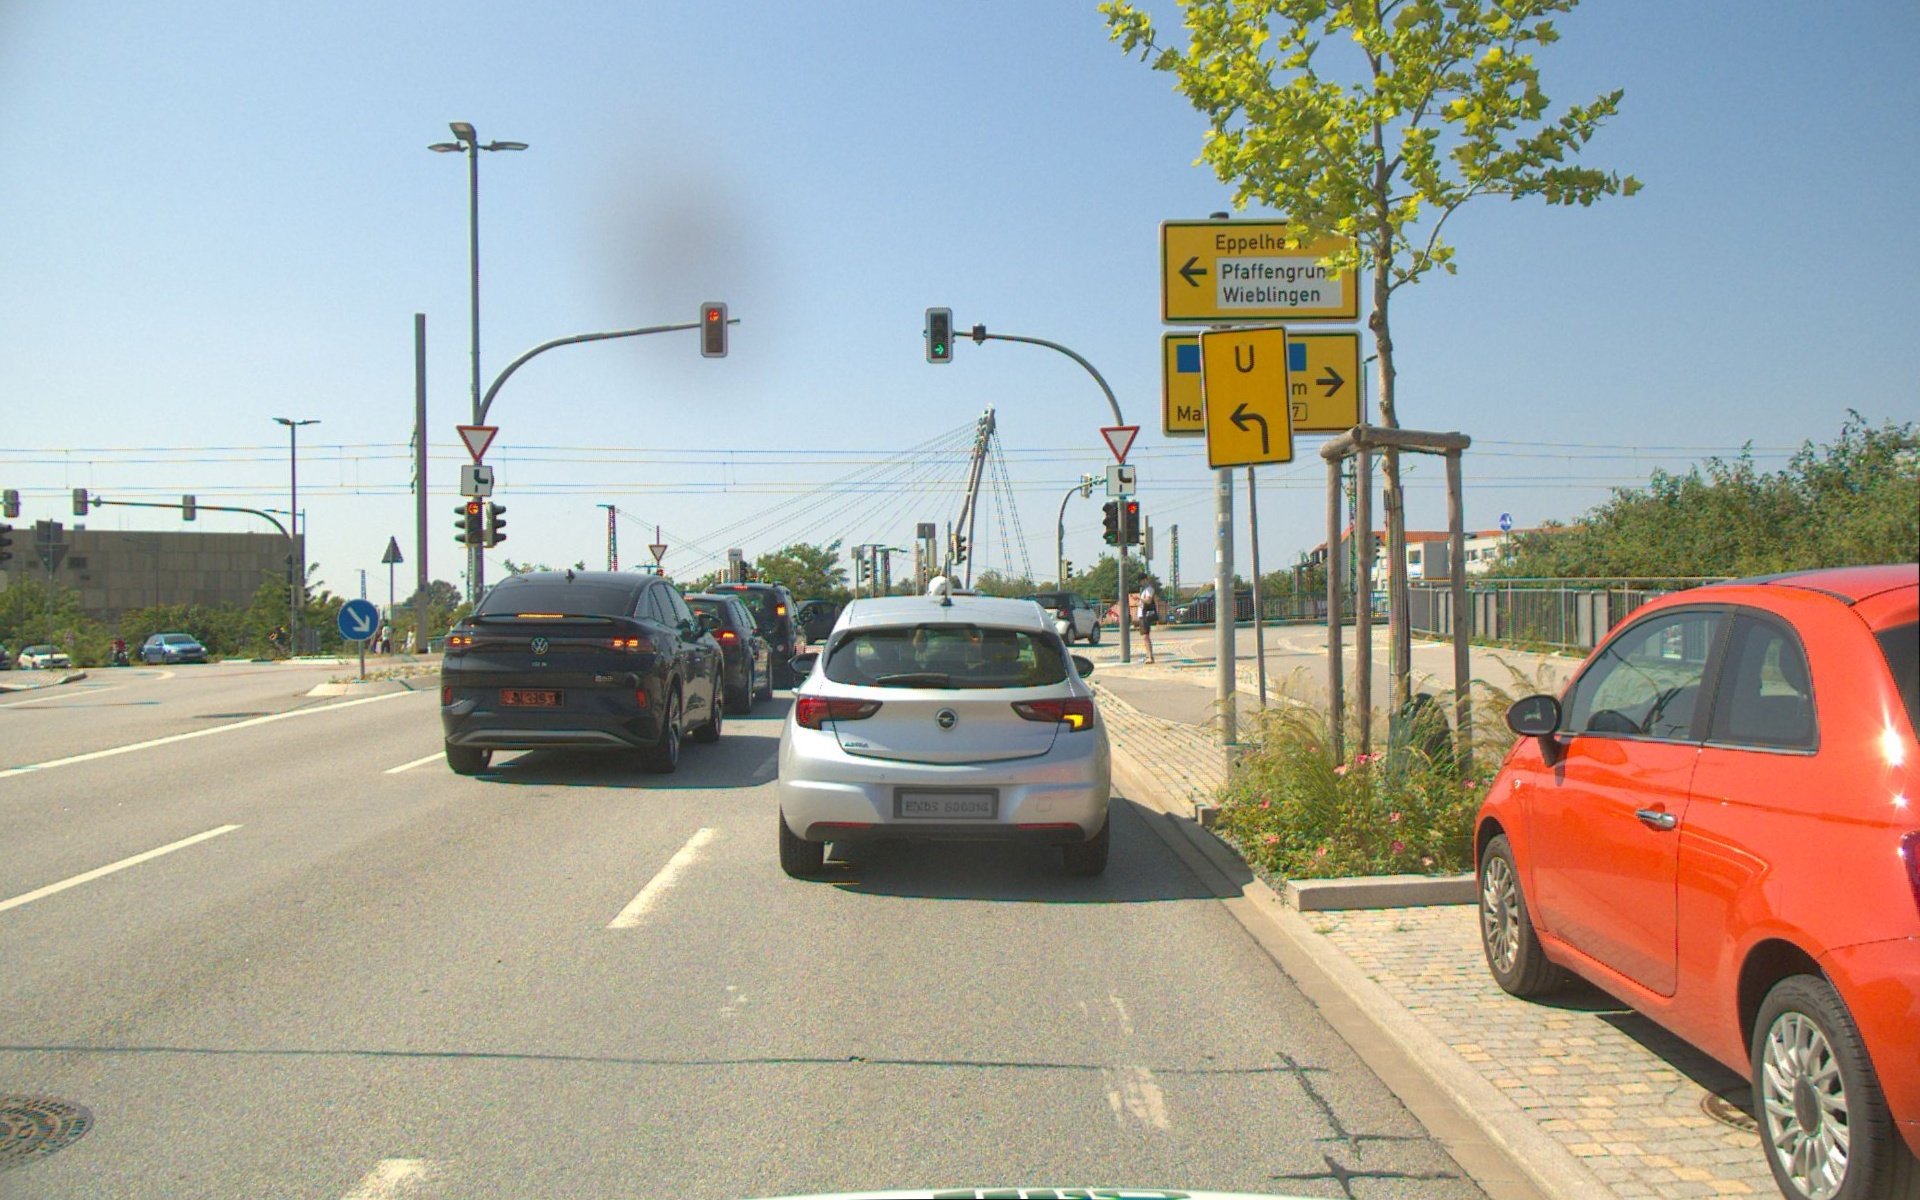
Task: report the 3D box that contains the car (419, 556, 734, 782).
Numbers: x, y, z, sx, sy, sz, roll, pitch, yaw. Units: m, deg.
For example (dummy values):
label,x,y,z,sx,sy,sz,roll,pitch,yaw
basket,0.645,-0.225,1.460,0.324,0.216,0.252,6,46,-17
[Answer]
label,x,y,z,sx,sy,sz,roll,pitch,yaw
car,-3.172,0.520,14.586,1.765,1.670,4.365,1,0,0

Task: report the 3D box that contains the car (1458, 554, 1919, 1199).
label,x,y,z,sx,sy,sz,roll,pitch,yaw
car,2.778,0.634,4.925,1.577,1.522,3.353,-2,0,1

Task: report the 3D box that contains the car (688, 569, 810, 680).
label,x,y,z,sx,sy,sz,roll,pitch,yaw
car,-3.348,0.370,26.839,1.616,1.643,3.818,1,0,-3

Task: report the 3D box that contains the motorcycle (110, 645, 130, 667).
label,x,y,z,sx,sy,sz,roll,pitch,yaw
motorcycle,-39.741,2.629,78.233,0.515,0.971,1.909,1,0,-37

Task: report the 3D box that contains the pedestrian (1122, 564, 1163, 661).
label,x,y,z,sx,sy,sz,roll,pitch,yaw
pedestrian,3.593,0.240,32.608,0.634,1.868,0.797,-2,0,-2

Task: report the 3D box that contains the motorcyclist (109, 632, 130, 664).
label,x,y,z,sx,sy,sz,roll,pitch,yaw
motorcyclist,-39.779,2.261,78.294,0.745,1.520,0.668,1,-1,-37

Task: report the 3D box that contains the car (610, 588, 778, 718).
label,x,y,z,sx,sy,sz,roll,pitch,yaw
car,-3.245,0.606,20.787,1.543,1.459,3.785,1,0,-1

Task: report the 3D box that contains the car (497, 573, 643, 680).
label,x,y,z,sx,sy,sz,roll,pitch,yaw
car,-6.153,0.397,26.443,1.565,1.574,3.760,1,0,-3

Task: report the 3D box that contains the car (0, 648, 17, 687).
label,x,y,z,sx,sy,sz,roll,pitch,yaw
car,-40.407,2.807,68.740,1.662,1.502,3.359,-1,1,-38

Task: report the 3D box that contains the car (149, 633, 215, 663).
label,x,y,z,sx,sy,sz,roll,pitch,yaw
car,-35.307,2.158,74.977,1.805,1.354,3.942,1,-2,-39

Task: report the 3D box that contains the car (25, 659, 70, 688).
label,x,y,z,sx,sy,sz,roll,pitch,yaw
car,-48.460,3.884,87.833,1.594,1.362,2.882,1,0,-40

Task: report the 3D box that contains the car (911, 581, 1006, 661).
label,x,y,z,sx,sy,sz,roll,pitch,yaw
car,0.023,0.402,35.813,1.687,1.591,4.003,1,1,5

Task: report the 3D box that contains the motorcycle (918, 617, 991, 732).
label,x,y,z,sx,sy,sz,roll,pitch,yaw
motorcycle,-0.075,0.712,16.336,0.491,1.031,2.171,-4,-1,-5

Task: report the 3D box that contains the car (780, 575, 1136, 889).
label,x,y,z,sx,sy,sz,roll,pitch,yaw
car,-0.095,0.648,10.025,1.708,1.503,3.998,1,0,-3
